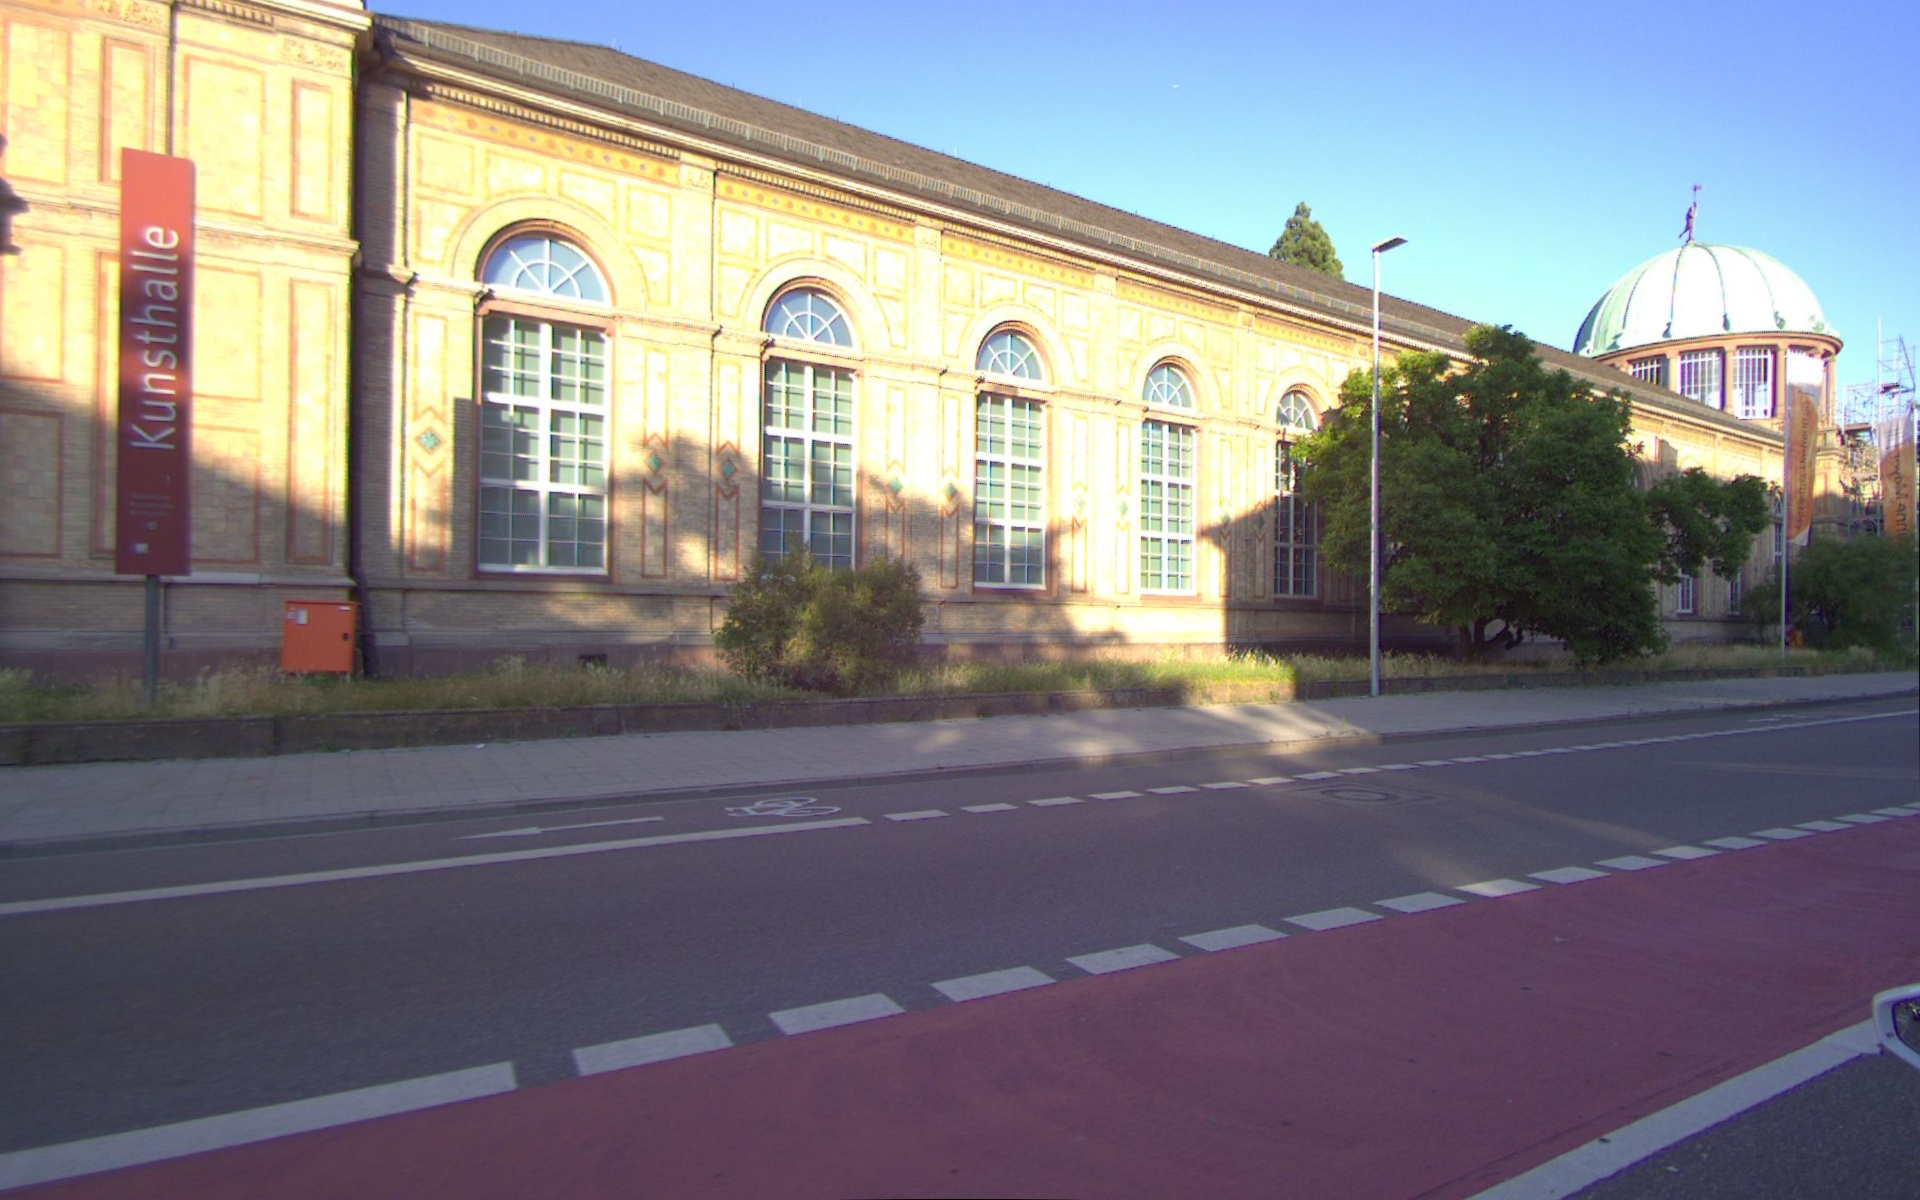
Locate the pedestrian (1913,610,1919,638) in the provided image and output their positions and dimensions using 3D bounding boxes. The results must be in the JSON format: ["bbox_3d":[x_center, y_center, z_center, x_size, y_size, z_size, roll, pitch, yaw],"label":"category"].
[{"bbox_3d":[54.314,1.353,56.642,0.756,1.600,0.730,1,-1,-38],"label":"pedestrian"}]
